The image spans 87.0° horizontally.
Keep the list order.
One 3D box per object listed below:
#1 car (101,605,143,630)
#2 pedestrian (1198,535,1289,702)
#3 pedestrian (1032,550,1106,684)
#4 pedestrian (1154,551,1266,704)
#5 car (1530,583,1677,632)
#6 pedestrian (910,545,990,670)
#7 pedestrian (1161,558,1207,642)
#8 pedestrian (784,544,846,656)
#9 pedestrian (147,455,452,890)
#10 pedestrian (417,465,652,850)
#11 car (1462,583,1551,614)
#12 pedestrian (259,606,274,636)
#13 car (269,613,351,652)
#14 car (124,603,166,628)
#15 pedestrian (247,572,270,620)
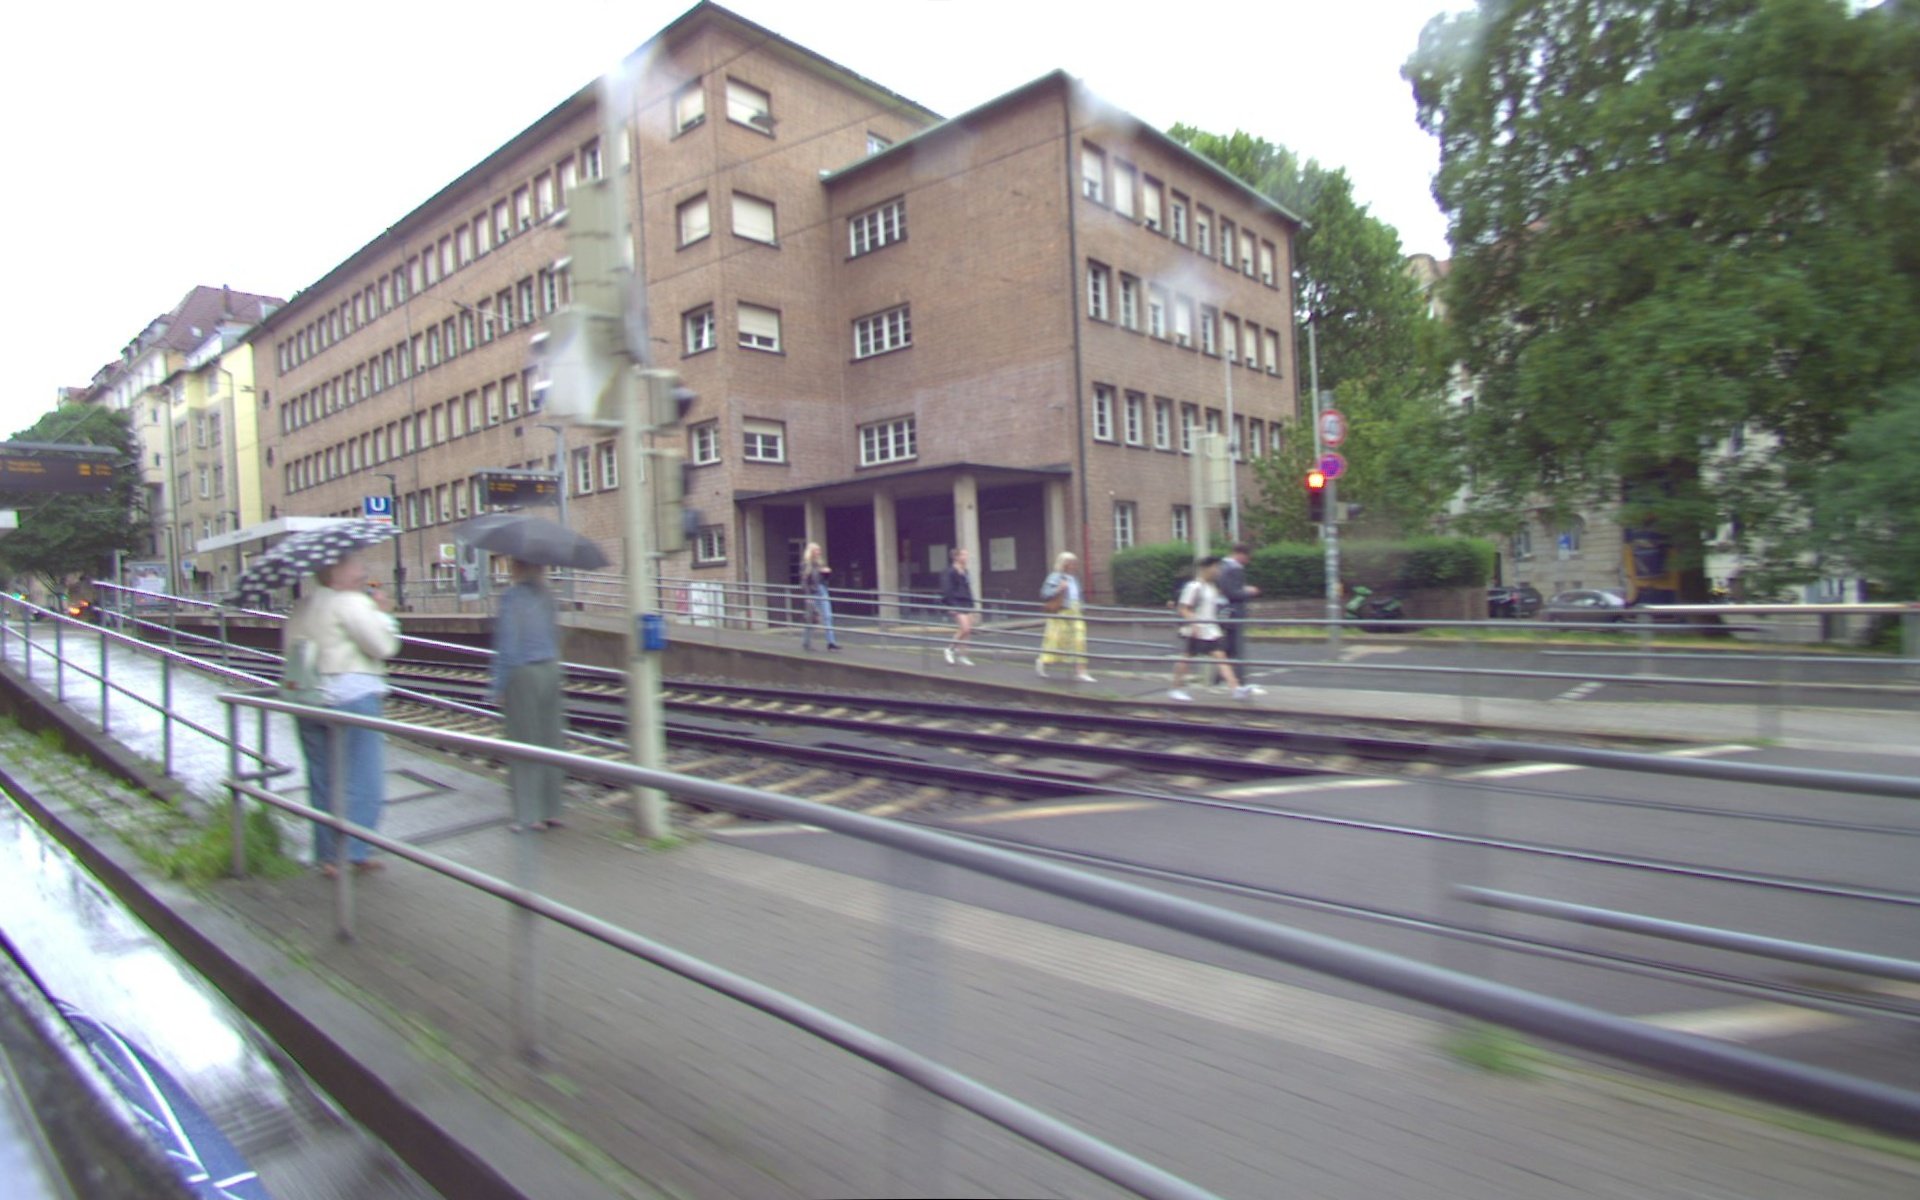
[{"bbox_3d":[-57.437,1.177,69.362,4.339,1.592,1.627,-1,1,43],"label":"car"},{"bbox_3d":[3.252,0.212,11.659,0.790,1.832,0.511,-4,-1,6],"label":"pedestrian"},{"bbox_3d":[1.409,0.198,13.058,0.640,1.659,0.736,0,2,41],"label":"pedestrian"},{"bbox_3d":[2.752,0.285,11.147,0.956,1.595,0.685,-1,1,41],"label":"pedestrian"},{"bbox_3d":[20.186,0.220,31.968,1.715,1.413,4.007,-1,0,-7],"label":"car"},{"bbox_3d":[-0.141,0.075,14.397,0.882,1.708,0.736,3,4,40],"label":"pedestrian"},{"bbox_3d":[4.607,-0.018,20.804,0.688,1.687,0.598,2,1,38],"label":"pedestrian"},{"bbox_3d":[-2.289,-0.020,16.002,0.688,1.710,0.658,3,5,38],"label":"pedestrian"},{"bbox_3d":[-3.355,0.332,5.261,0.915,2.028,0.948,-2,1,-4],"label":"pedestrian"},{"bbox_3d":[-2.504,0.292,5.965,0.947,2.028,0.888,-1,1,41],"label":"pedestrian"},{"bbox_3d":[26.109,-0.068,48.487,1.715,1.413,4.007,-1,0,-7],"label":"car"},{"bbox_3d":[-39.333,1.208,57.387,0.542,1.666,0.542,-1,0,42],"label":"pedestrian"},{"bbox_3d":[-27.145,1.324,42.181,4.762,1.508,1.626,-1,1,41],"label":"car"},{"bbox_3d":[-51.167,0.976,63.522,3.111,1.477,1.627,-1,1,43],"label":"car"},{"bbox_3d":[-25.710,-0.150,37.101,0.491,1.722,0.581,-1,0,40],"label":"pedestrian"}]
